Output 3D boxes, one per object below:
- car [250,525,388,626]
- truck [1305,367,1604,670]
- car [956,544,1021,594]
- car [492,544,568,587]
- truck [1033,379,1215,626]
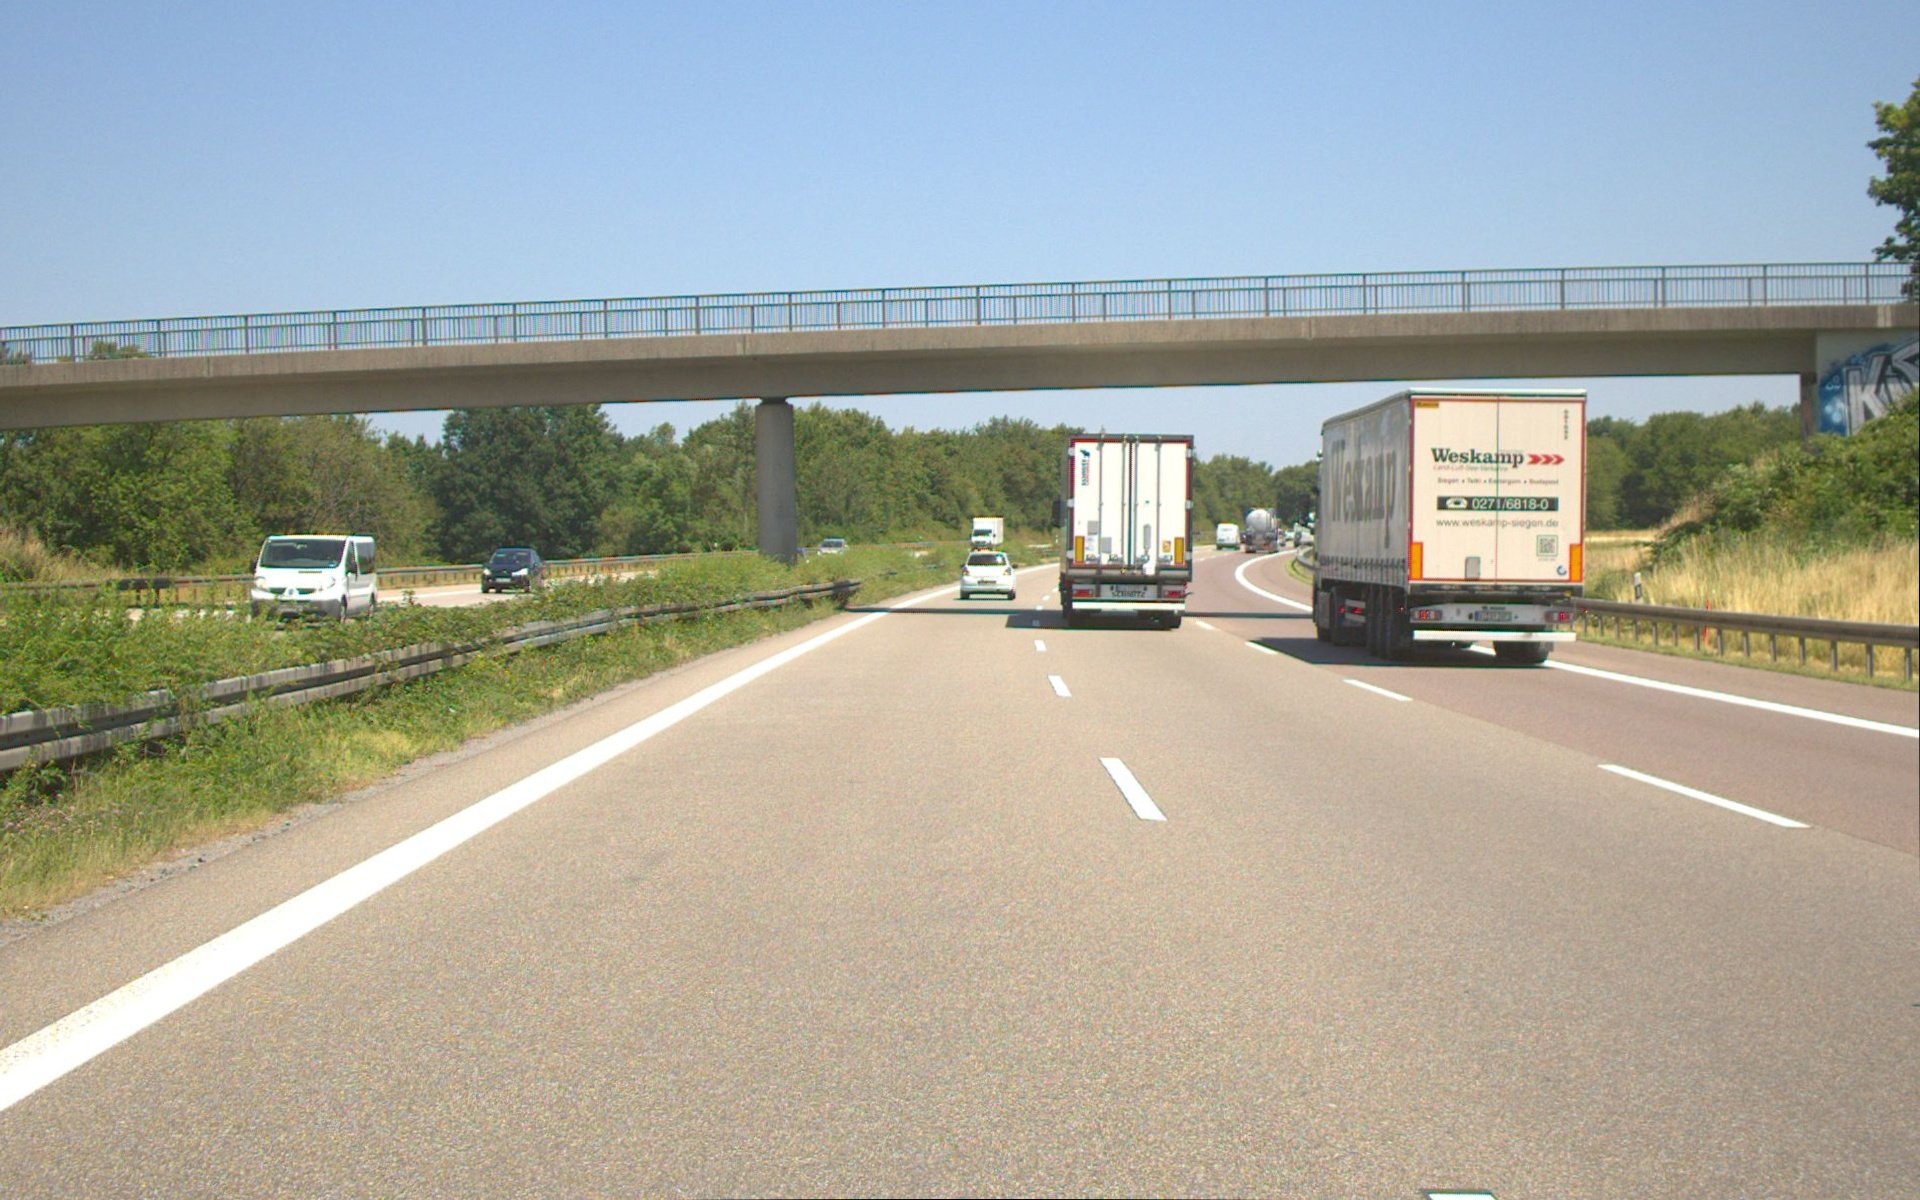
[{"bbox_3d":[-13.367,-0.527,71.974,1.828,2.007,5.330,1,1,0],"label":"car"},{"bbox_3d":[7.836,-1.339,56.953,3.181,4.289,16.017,1,1,2],"label":"truck"},{"bbox_3d":[0.931,-0.985,109.463,1.828,1.542,4.319,1,1,3],"label":"car"},{"bbox_3d":[-14.997,-1.199,120.188,1.828,1.456,4.318,1,1,4],"label":"car"},{"bbox_3d":[3.637,-2.177,78.254,3.666,5.001,16.017,1,1,2],"label":"truck"}]
